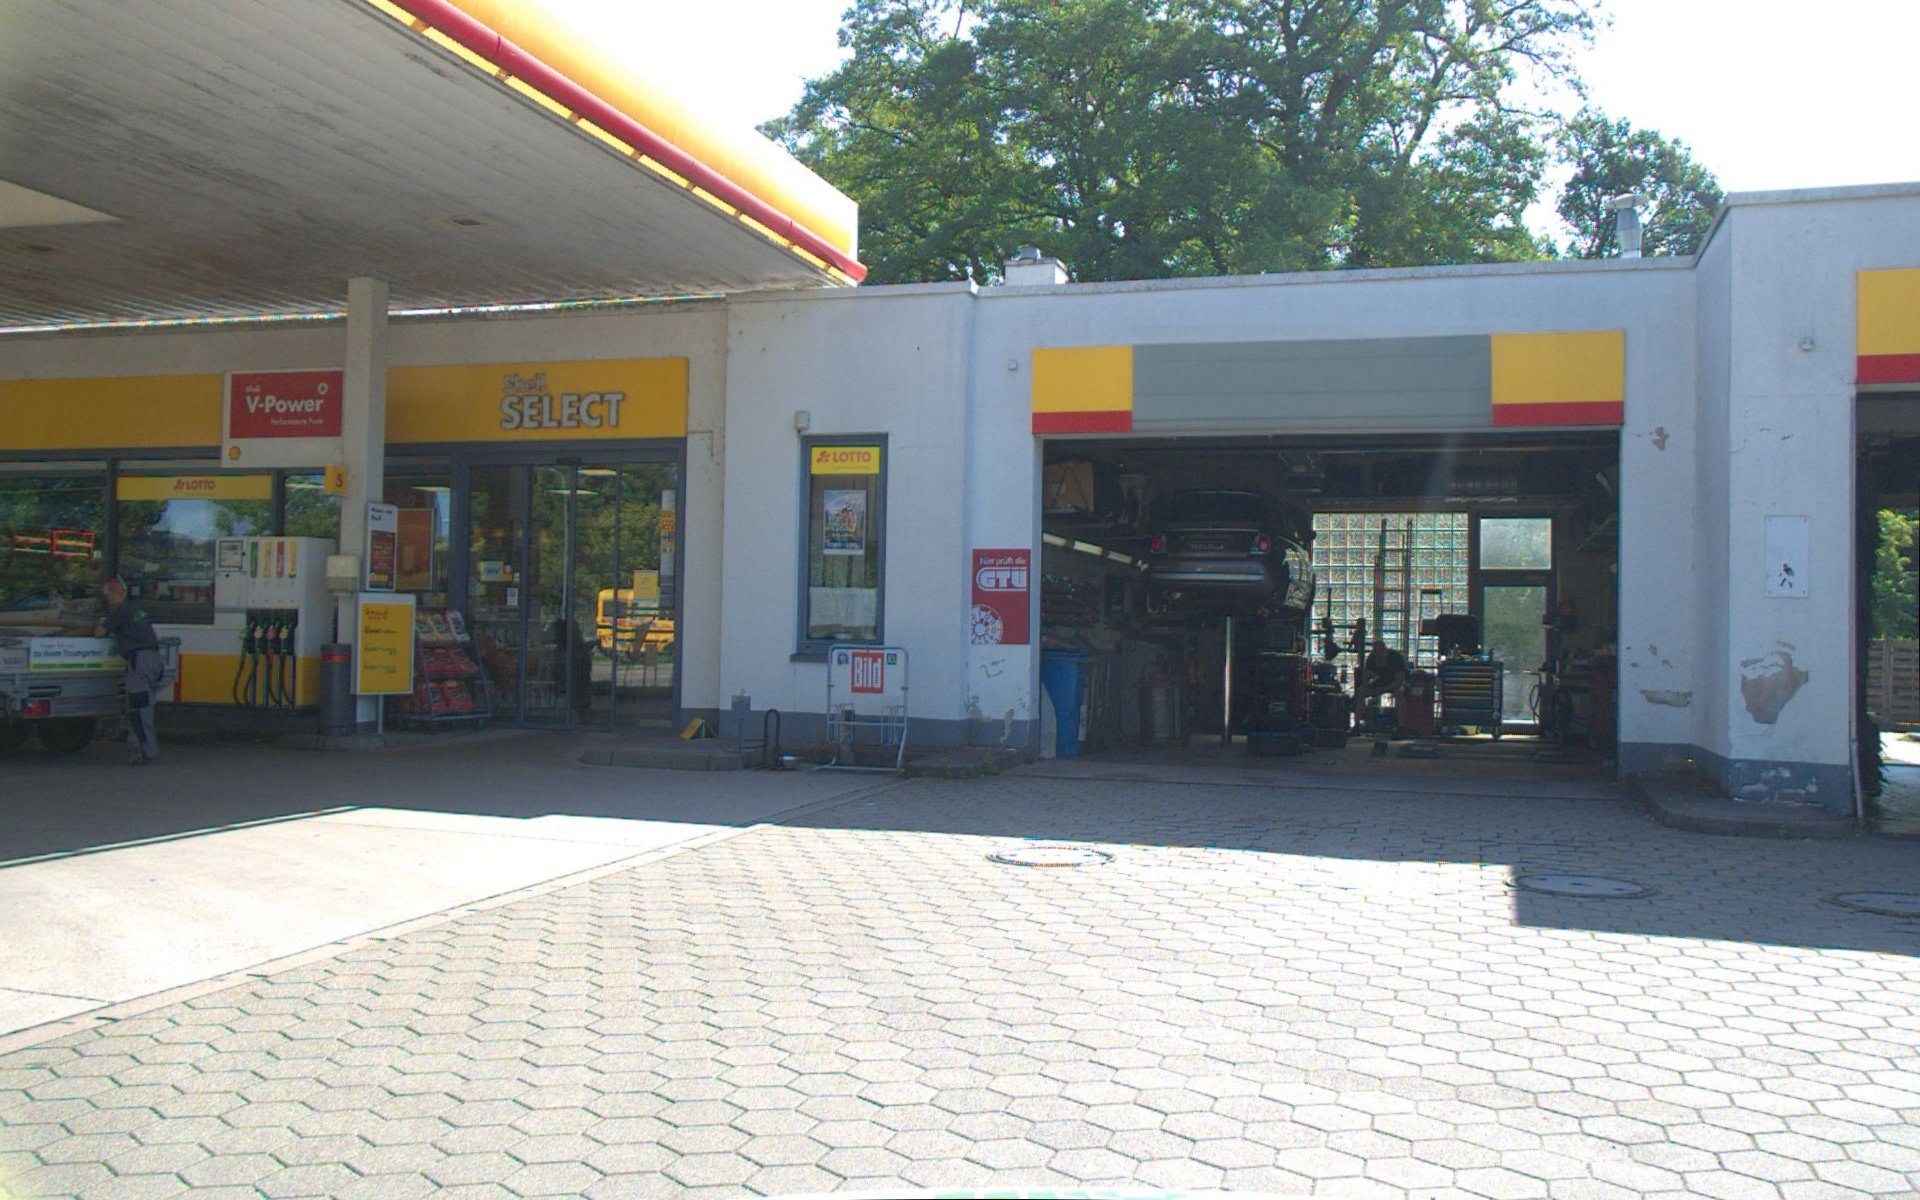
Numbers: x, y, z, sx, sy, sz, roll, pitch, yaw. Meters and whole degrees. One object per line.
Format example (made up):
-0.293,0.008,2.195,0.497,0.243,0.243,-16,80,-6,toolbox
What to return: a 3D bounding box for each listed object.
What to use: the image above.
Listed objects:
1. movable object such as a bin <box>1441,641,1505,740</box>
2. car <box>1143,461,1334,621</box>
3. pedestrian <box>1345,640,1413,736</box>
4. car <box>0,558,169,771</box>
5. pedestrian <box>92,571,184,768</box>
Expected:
6.674,1.177,21.509,0.780,1.258,0.544,0,-4,19,movable object such as a bin
3.410,-0.605,19.683,1.612,1.512,4.000,0,-3,19,car
5.468,1.145,21.567,0.845,1.219,0.743,0,-3,16,pedestrian
-9.462,0.555,15.104,3.905,1.758,1.833,0,-2,21,car
-7.240,0.607,14.578,0.488,1.698,0.476,0,-2,18,pedestrian
